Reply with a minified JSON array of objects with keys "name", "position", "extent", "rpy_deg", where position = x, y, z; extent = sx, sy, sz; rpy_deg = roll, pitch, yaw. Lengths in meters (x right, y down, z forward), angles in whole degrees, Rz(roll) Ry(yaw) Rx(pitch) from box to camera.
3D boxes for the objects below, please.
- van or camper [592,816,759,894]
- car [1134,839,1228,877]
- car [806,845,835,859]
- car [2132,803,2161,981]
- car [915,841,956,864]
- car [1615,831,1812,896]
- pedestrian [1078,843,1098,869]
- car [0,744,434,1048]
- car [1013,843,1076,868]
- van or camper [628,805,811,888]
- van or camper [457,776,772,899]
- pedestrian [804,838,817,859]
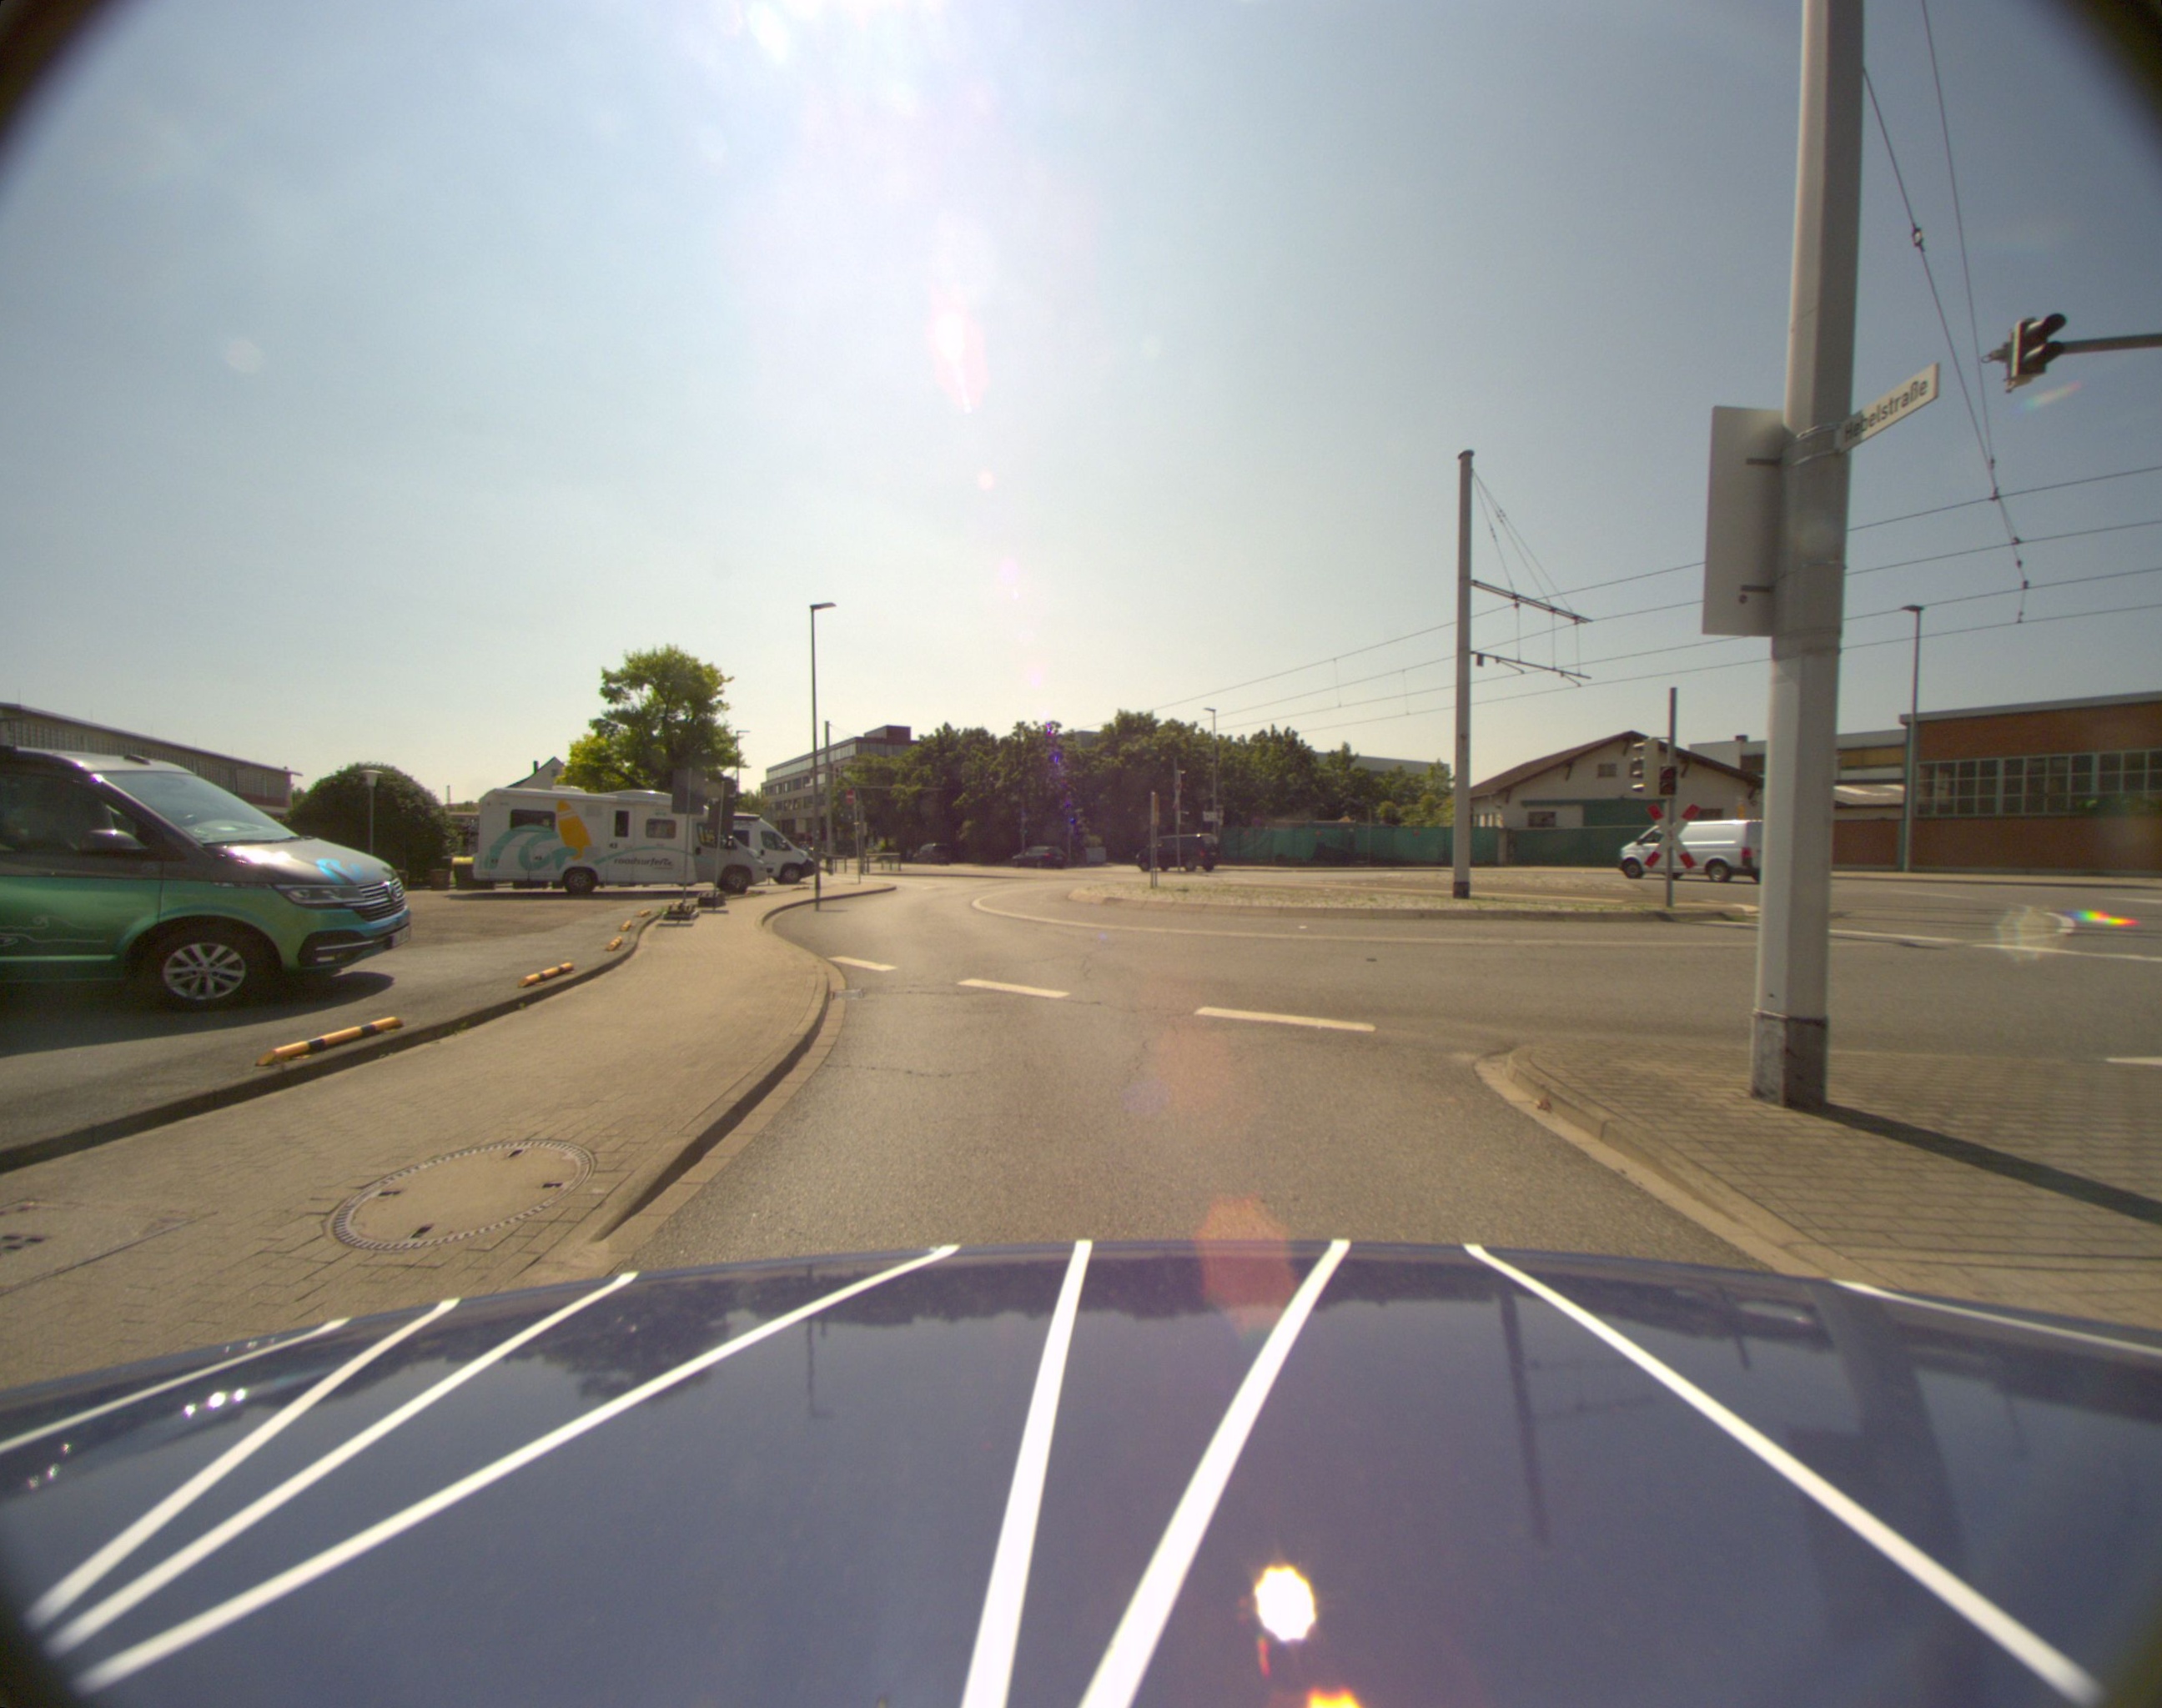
[{"name":"van or camper","position":[-15.749,0.016,29.745],"extent":[5.533,2.797,2.043],"rpy_deg":[-1,0,-30]},{"name":"car","position":[5.348,0.223,40.919],"extent":[4.626,1.899,2.102],"rpy_deg":[-1,0,39]},{"name":"car","position":[-31.771,-0.256,92.475],"extent":[1.937,1.574,4.179],"rpy_deg":[3,0,-39]},{"name":"car","position":[12.485,0.454,6.891],"extent":[2.022,2.102,4.944],"rpy_deg":[-1,0,36]},{"name":"car","position":[-12.237,-0.154,63.812],"extent":[1.993,1.808,4.398],"rpy_deg":[-1,1,-30]},{"name":"car","position":[20.459,0.210,24.925],"extent":[1.933,1.924,4.823],"rpy_deg":[-1,2,-9]},{"name":"pedestrian","position":[0.470,0.116,52.862],"extent":[0.890,1.662,1.156],"rpy_deg":[-5,9,-35]},{"name":"car","position":[-8.612,0.223,5.796],"extent":[5.236,2.101,2.091],"rpy_deg":[2,2,-28]},{"name":"car","position":[-2.475,0.106,50.134],"extent":[1.973,1.547,4.231],"rpy_deg":[-1,0,-40]},{"name":"van or camper","position":[-13.141,-0.248,27.774],"extent":[5.840,2.757,2.085],"rpy_deg":[0,0,-32]},{"name":"van or camper","position":[-12.630,-0.349,21.145],"extent":[7.098,2.929,2.328],"rpy_deg":[1,1,-34]},{"name":"pedestrian","position":[-22.141,-0.456,62.168],"extent":[0.727,1.715,0.942],"rpy_deg":[-2,2,-35]}]
